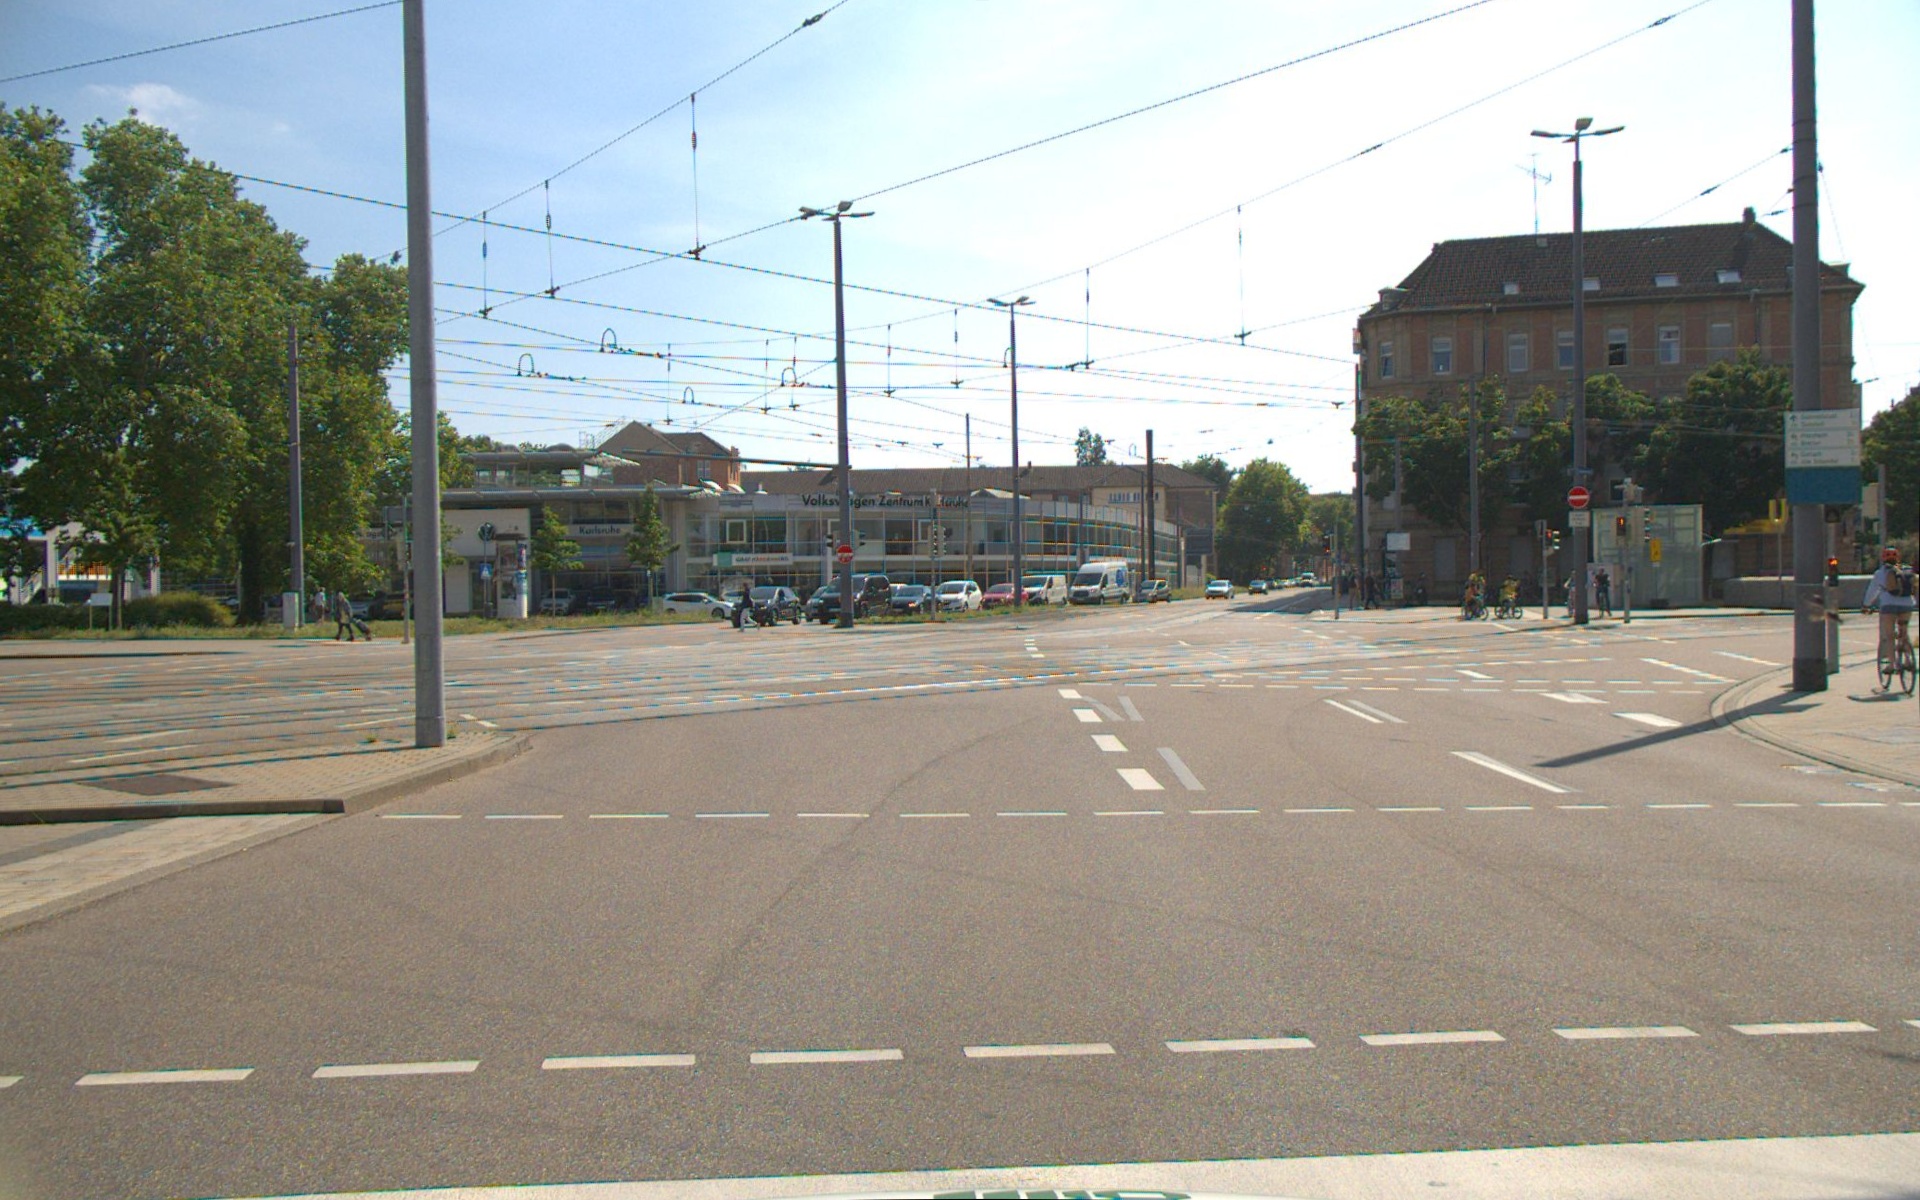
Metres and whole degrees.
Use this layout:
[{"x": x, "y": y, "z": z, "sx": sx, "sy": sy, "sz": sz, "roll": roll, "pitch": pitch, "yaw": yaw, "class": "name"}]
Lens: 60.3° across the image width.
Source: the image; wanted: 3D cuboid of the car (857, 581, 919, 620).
[{"x": -3.368, "y": 0.053, "z": 78.054, "sx": 1.616, "sy": 1.769, "sz": 4.203, "roll": -1, "pitch": -1, "yaw": 16, "class": "car"}]

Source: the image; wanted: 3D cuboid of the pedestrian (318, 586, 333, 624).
[{"x": -27.481, "y": 0.212, "z": 71.633, "sx": 0.384, "sy": 1.624, "sz": 0.464, "roll": 1, "pitch": -1, "yaw": 23, "class": "pedestrian"}]

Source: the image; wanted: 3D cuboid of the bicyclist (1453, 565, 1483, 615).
[{"x": 18.953, "y": -0.371, "z": 61.697, "sx": 0.907, "sy": 1.852, "sz": 1.053, "roll": 1, "pitch": -1, "yaw": 9, "class": "bicyclist"}]

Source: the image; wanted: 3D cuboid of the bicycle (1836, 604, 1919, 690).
[{"x": 12.411, "y": 0.596, "z": 21.926, "sx": 0.699, "sy": 1.033, "sz": 2.022, "roll": -3, "pitch": 0, "yaw": 7, "class": "bicycle"}]

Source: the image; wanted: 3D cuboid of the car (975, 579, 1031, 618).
[{"x": 2.260, "y": -0.062, "z": 85.359, "sx": 1.854, "sy": 1.950, "sz": 4.203, "roll": -1, "pitch": -1, "yaw": 16, "class": "car"}]

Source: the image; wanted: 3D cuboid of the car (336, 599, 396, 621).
[{"x": -35.989, "y": 0.590, "z": 100.271, "sx": 1.951, "sy": 1.266, "sz": 4.002, "roll": 1, "pitch": 0, "yaw": 4, "class": "car"}]

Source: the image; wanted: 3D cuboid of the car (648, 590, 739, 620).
[{"x": -14.132, "y": 0.260, "z": 87.714, "sx": 4.487, "sy": 1.461, "sz": 1.445, "roll": 1, "pitch": 0, "yaw": 13, "class": "car"}]

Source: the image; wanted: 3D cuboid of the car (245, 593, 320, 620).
[{"x": -42.653, "y": 0.417, "z": 104.161, "sx": 3.907, "sy": 1.579, "sz": 1.999, "roll": -1, "pitch": 0, "yaw": -3, "class": "car"}]

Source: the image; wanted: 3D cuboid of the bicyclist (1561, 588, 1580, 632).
[{"x": 22.964, "y": 0.368, "z": 62.190, "sx": 0.489, "sy": 1.649, "sz": 0.650, "roll": 1, "pitch": 0, "yaw": 4, "class": "bicyclist"}]

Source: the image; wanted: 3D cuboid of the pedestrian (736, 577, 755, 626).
[{"x": -7.155, "y": 0.055, "z": 55.181, "sx": 0.449, "sy": 1.633, "sz": 0.395, "roll": 1, "pitch": -1, "yaw": -37, "class": "pedestrian"}]

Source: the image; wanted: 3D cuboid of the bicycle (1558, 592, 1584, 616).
[{"x": 22.969, "y": 0.137, "z": 62.147, "sx": 0.489, "sy": 0.881, "sz": 1.588, "roll": 1, "pitch": 1, "yaw": 4, "class": "bicycle"}]

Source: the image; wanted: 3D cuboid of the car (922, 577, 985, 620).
[{"x": -0.264, "y": -0.041, "z": 78.325, "sx": 1.854, "sy": 1.950, "sz": 4.203, "roll": -1, "pitch": -1, "yaw": 16, "class": "car"}]

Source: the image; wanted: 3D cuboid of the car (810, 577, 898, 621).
[{"x": -4.085, "y": -0.076, "z": 64.522, "sx": 1.919, "sy": 1.615, "sz": 4.719, "roll": -1, "pitch": 1, "yaw": 16, "class": "car"}]

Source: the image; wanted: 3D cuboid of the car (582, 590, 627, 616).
[{"x": -21.466, "y": 0.189, "z": 100.024, "sx": 1.953, "sy": 1.512, "sz": 3.998, "roll": 1, "pitch": 0, "yaw": -2, "class": "car"}]

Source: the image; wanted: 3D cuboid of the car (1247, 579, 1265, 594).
[{"x": 29.647, "y": -1.300, "z": 165.619, "sx": 1.355, "sy": 1.439, "sz": 3.013, "roll": 1, "pitch": 0, "yaw": 18, "class": "car"}]

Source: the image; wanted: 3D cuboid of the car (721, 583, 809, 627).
[{"x": -7.476, "y": 0.211, "z": 63.858, "sx": 1.851, "sy": 1.615, "sz": 4.213, "roll": -1, "pitch": -1, "yaw": 16, "class": "car"}]

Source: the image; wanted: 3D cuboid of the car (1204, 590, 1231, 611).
[{"x": 20.204, "y": 0.045, "z": 129.692, "sx": 1.356, "sy": 1.653, "sz": 3.339, "roll": 1, "pitch": 0, "yaw": 23, "class": "car"}]

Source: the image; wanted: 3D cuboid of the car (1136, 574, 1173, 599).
[{"x": 13.498, "y": -0.926, "z": 114.695, "sx": 1.357, "sy": 1.685, "sz": 3.755, "roll": 1, "pitch": 0, "yaw": 27, "class": "car"}]

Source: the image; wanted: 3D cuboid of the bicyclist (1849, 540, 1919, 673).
[{"x": 12.376, "y": 0.078, "z": 21.919, "sx": 0.699, "sy": 1.698, "sz": 0.875, "roll": -3, "pitch": 0, "yaw": 7, "class": "bicyclist"}]

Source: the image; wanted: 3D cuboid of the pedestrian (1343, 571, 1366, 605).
[{"x": 17.095, "y": -0.499, "z": 71.662, "sx": 0.608, "sy": 1.458, "sz": 0.703, "roll": 1, "pitch": -1, "yaw": -38, "class": "pedestrian"}]

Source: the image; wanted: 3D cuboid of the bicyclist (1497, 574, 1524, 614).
[{"x": 20.508, "y": -0.227, "z": 61.643, "sx": 0.907, "sy": 1.477, "sz": 1.252, "roll": 1, "pitch": 1, "yaw": 18, "class": "bicyclist"}]

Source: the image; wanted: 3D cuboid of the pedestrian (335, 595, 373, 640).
[{"x": -19.369, "y": 0.565, "z": 52.844, "sx": 1.098, "sy": 1.428, "sz": 0.652, "roll": 1, "pitch": -1, "yaw": -23, "class": "pedestrian"}]

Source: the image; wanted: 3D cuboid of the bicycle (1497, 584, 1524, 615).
[{"x": 20.507, "y": -0.028, "z": 61.627, "sx": 0.907, "sy": 1.088, "sz": 2.842, "roll": 1, "pitch": 1, "yaw": 18, "class": "bicycle"}]

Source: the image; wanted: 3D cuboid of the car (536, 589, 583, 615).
[{"x": -24.193, "y": 0.133, "z": 100.011, "sx": 1.953, "sy": 1.512, "sz": 3.998, "roll": 1, "pitch": 0, "yaw": -2, "class": "car"}]

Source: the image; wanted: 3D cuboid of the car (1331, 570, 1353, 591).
[{"x": 38.354, "y": -1.948, "z": 166.073, "sx": 2.063, "sy": 2.049, "sz": 4.004, "roll": -1, "pitch": 1, "yaw": 13, "class": "car"}]

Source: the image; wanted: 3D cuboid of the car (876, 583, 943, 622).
[{"x": -2.147, "y": 0.120, "z": 71.101, "sx": 1.854, "sy": 1.615, "sz": 4.003, "roll": -1, "pitch": -1, "yaw": 13, "class": "car"}]

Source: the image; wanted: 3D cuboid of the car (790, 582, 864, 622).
[{"x": -5.641, "y": 0.099, "z": 70.697, "sx": 1.854, "sy": 1.615, "sz": 4.002, "roll": -1, "pitch": -1, "yaw": 16, "class": "car"}]

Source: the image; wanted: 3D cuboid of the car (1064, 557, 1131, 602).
[{"x": 8.436, "y": -1.229, "z": 100.775, "sx": 2.165, "sy": 2.620, "sz": 5.870, "roll": 1, "pitch": 0, "yaw": 25, "class": "car"}]

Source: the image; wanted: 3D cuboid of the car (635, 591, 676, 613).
[{"x": -18.336, "y": 0.120, "z": 99.683, "sx": 1.793, "sy": 1.216, "sz": 3.998, "roll": 1, "pitch": 0, "yaw": -2, "class": "car"}]

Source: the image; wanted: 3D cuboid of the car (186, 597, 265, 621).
[{"x": -44.870, "y": 0.536, "z": 101.083, "sx": 3.906, "sy": 1.395, "sz": 1.999, "roll": 1, "pitch": 0, "yaw": -1, "class": "car"}]

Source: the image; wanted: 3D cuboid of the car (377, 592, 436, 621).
[{"x": -33.681, "y": 0.408, "z": 100.702, "sx": 1.951, "sy": 1.713, "sz": 4.002, "roll": 1, "pitch": 0, "yaw": 4, "class": "car"}]

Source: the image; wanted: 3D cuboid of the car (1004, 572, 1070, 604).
[{"x": 4.332, "y": -0.674, "z": 92.445, "sx": 2.140, "sy": 1.710, "sz": 5.029, "roll": -1, "pitch": 0, "yaw": 22, "class": "car"}]

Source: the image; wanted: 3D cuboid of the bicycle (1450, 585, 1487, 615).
[{"x": 18.926, "y": 0.019, "z": 61.590, "sx": 0.907, "sy": 1.088, "sz": 2.749, "roll": 1, "pitch": 0, "yaw": 9, "class": "bicycle"}]

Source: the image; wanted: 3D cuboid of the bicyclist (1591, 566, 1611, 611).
[{"x": 23.855, "y": -0.427, "z": 61.573, "sx": 0.653, "sy": 1.652, "sz": 0.782, "roll": 1, "pitch": 1, "yaw": 22, "class": "bicyclist"}]

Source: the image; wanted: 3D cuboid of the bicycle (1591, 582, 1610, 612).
[{"x": 23.834, "y": -0.123, "z": 61.522, "sx": 0.653, "sy": 1.088, "sz": 2.463, "roll": 1, "pitch": 1, "yaw": 22, "class": "bicycle"}]
